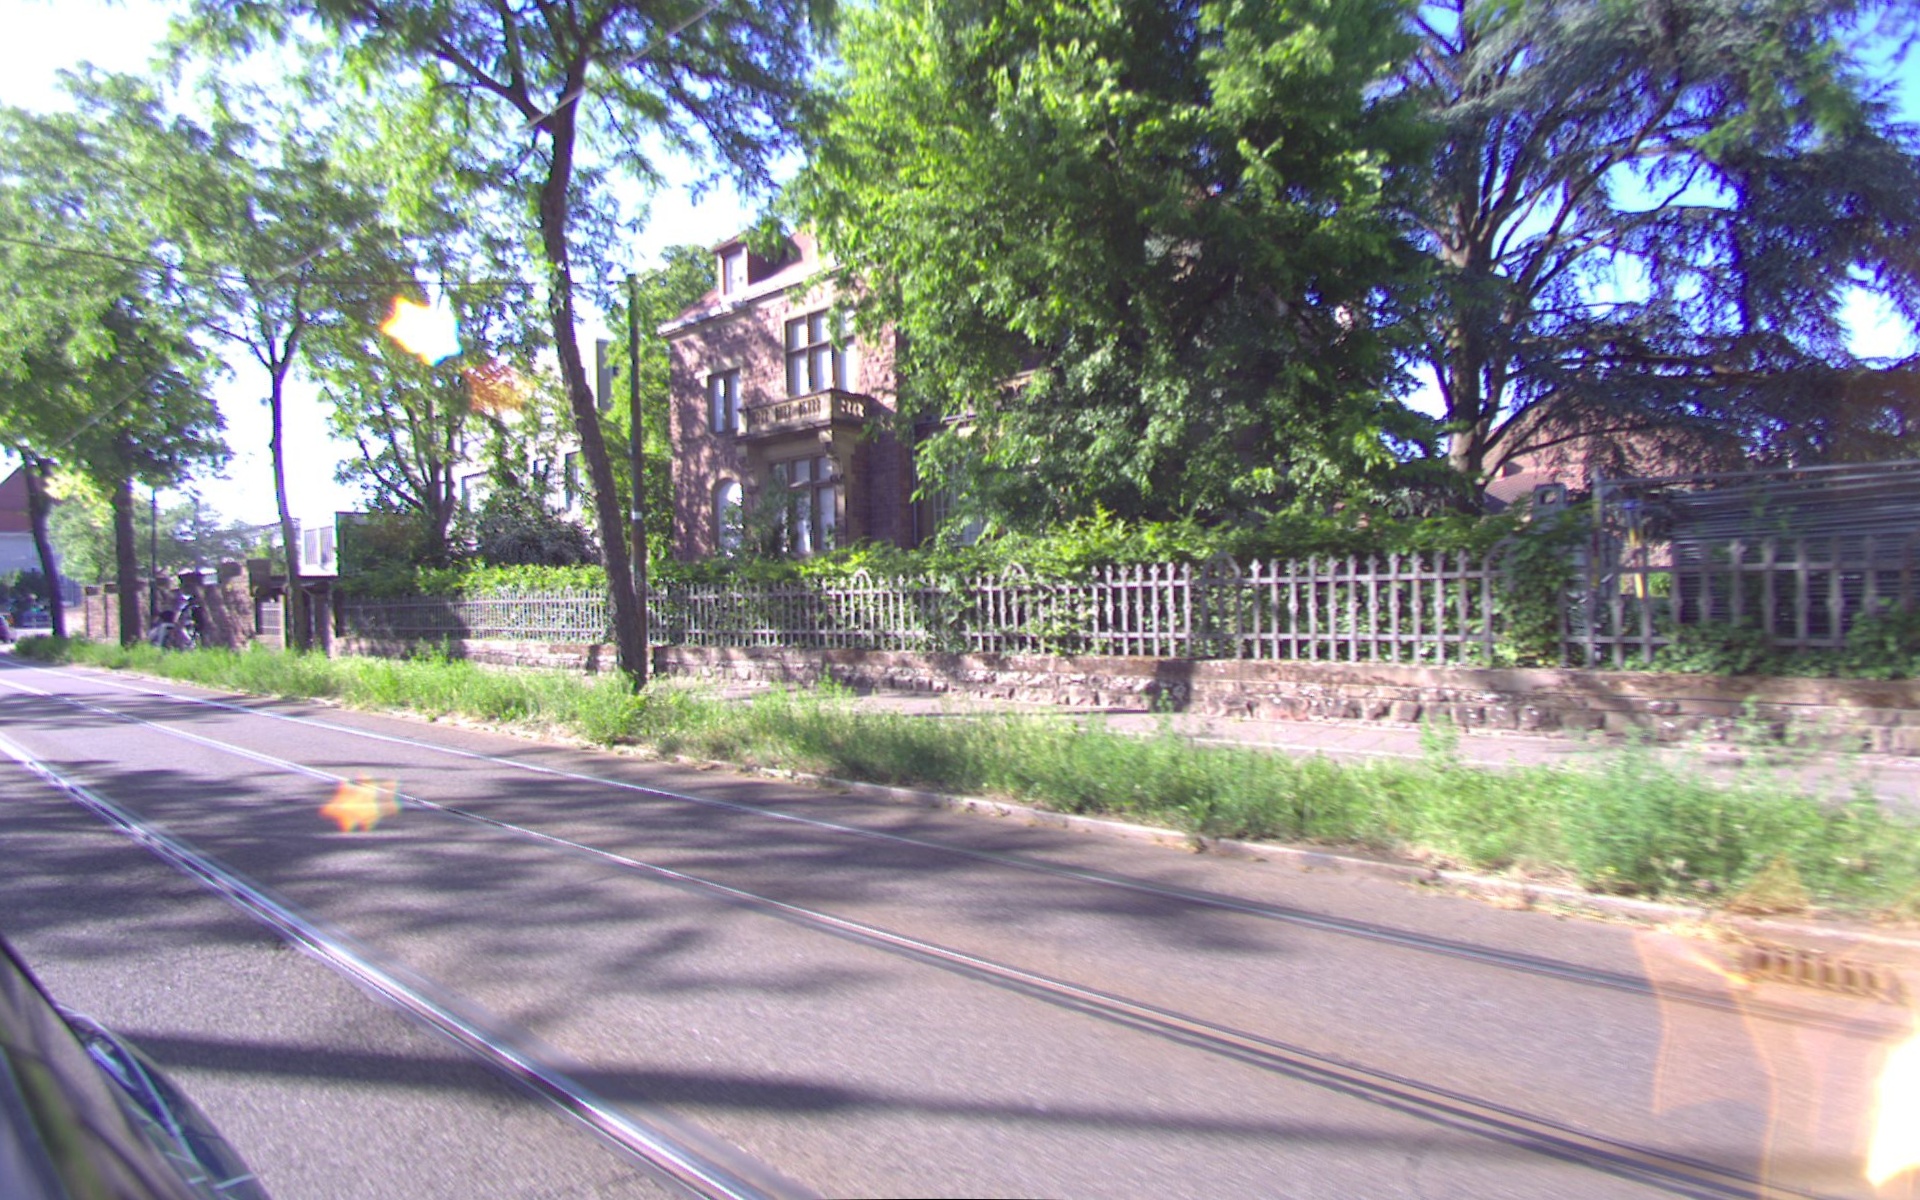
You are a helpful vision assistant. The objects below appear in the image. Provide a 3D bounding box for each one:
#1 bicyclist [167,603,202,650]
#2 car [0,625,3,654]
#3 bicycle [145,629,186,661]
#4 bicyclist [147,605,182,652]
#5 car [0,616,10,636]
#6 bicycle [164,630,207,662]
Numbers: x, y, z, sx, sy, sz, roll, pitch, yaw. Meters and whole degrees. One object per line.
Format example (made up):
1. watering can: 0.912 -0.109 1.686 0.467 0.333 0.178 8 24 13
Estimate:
1. bicyclist: -24.715 0.841 32.251 1.041 1.481 0.701 -2 0 42
2. car: -54.053 2.190 55.598 4.033 1.535 1.730 -1 1 41
3. bicycle: -26.927 1.512 34.291 1.888 0.981 0.710 -1 3 42
4. bicyclist: -26.952 0.952 34.268 0.956 1.510 0.702 -1 2 41
5. car: -99.607 2.728 104.310 4.932 1.980 1.972 -1 0 42
6. bicycle: -24.685 1.450 32.238 2.094 0.967 0.703 -2 0 42
